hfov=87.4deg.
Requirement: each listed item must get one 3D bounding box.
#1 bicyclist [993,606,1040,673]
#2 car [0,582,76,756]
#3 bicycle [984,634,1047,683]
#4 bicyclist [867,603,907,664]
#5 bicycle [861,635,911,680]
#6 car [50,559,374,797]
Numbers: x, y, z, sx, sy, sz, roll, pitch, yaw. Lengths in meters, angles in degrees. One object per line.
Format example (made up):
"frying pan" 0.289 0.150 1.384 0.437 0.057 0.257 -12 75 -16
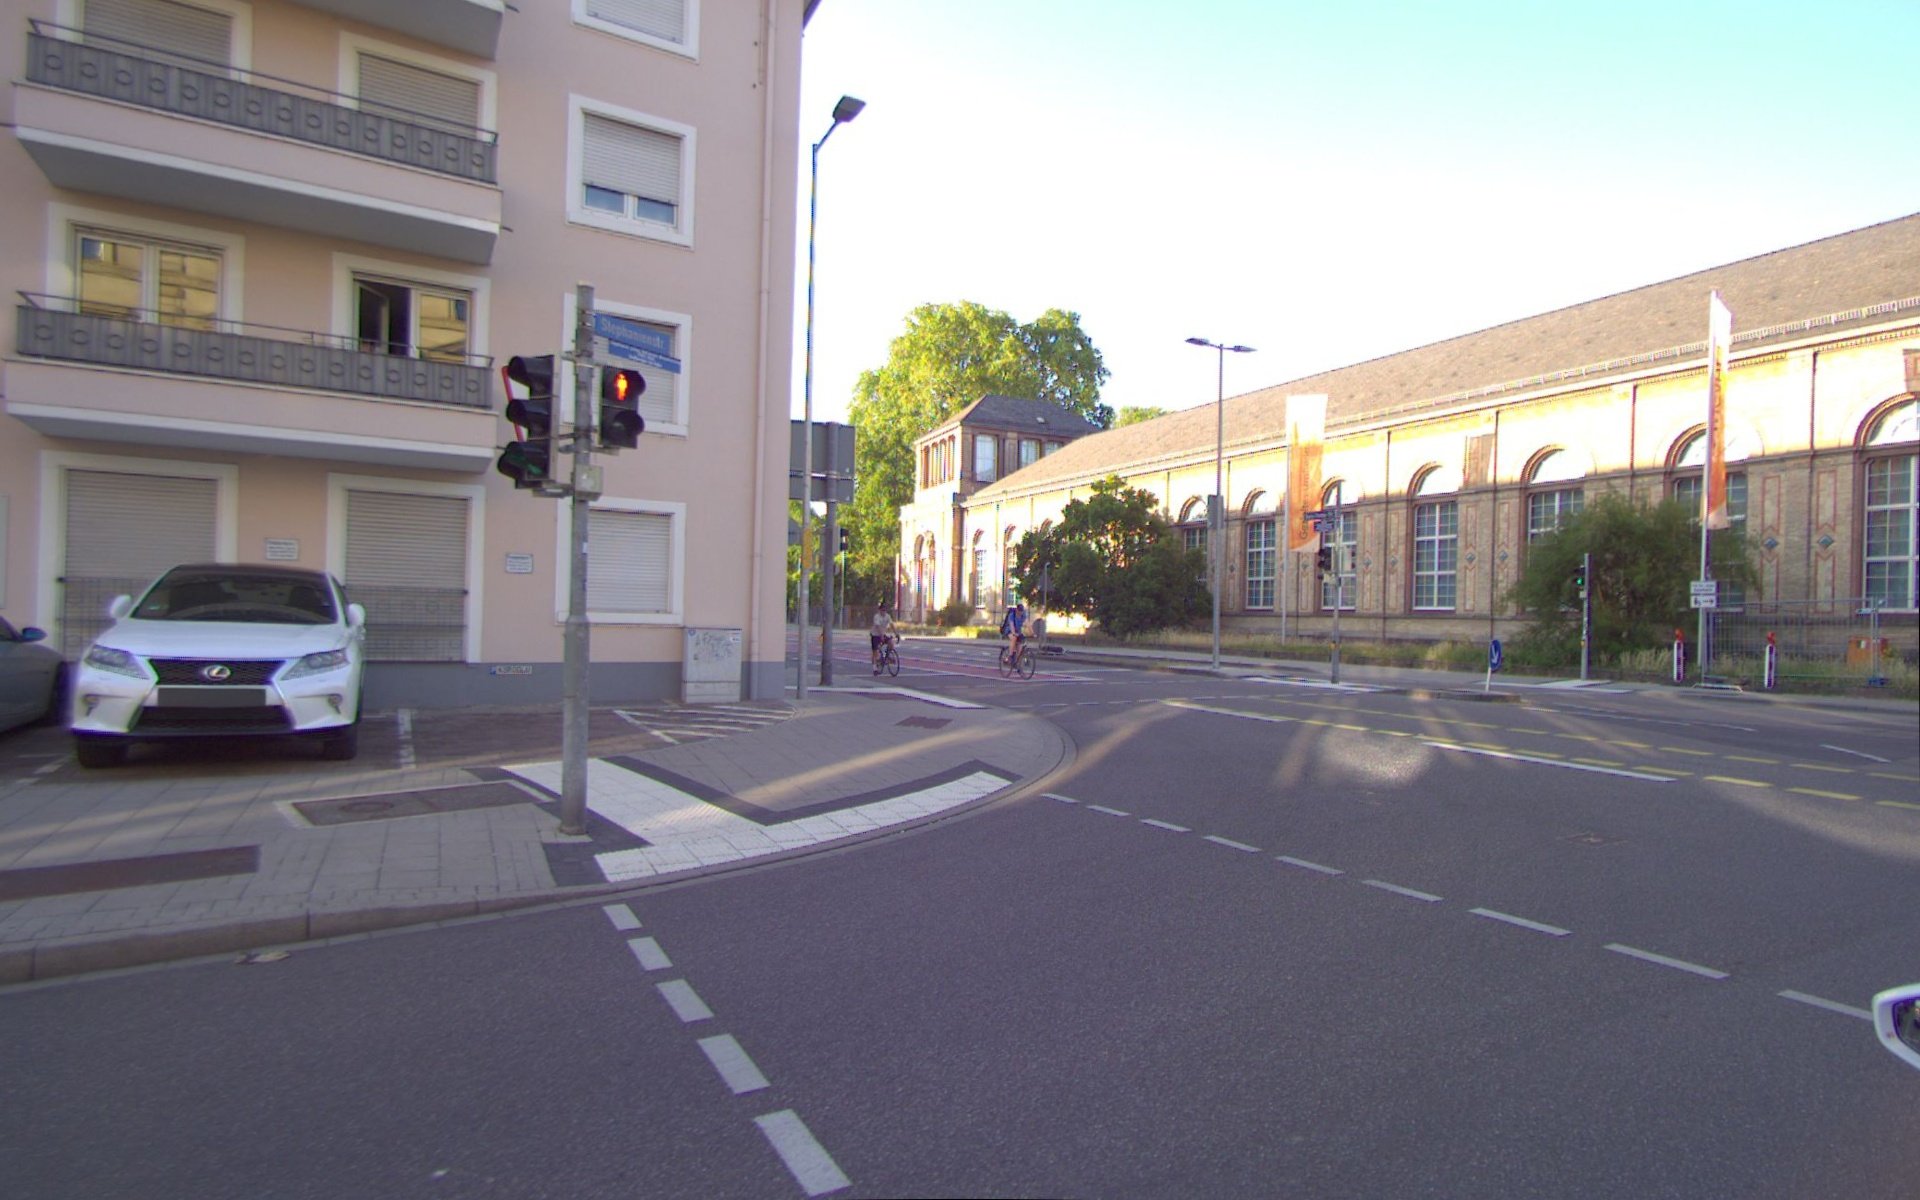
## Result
"bicyclist" 1.352 0.936 24.152 0.703 1.565 1.119 1 -1 -23
"car" -8.880 0.572 8.193 1.716 1.399 4.244 2 1 -31
"bicycle" 1.315 1.390 24.204 0.713 1.082 1.990 1 -1 -22
"bicyclist" -1.792 0.819 24.626 0.703 1.459 0.889 1 -1 -23
"bicycle" -1.836 1.388 24.688 0.713 1.024 1.680 1 -1 -22
"car" -6.640 0.505 9.419 1.920 1.663 4.417 2 1 -31
